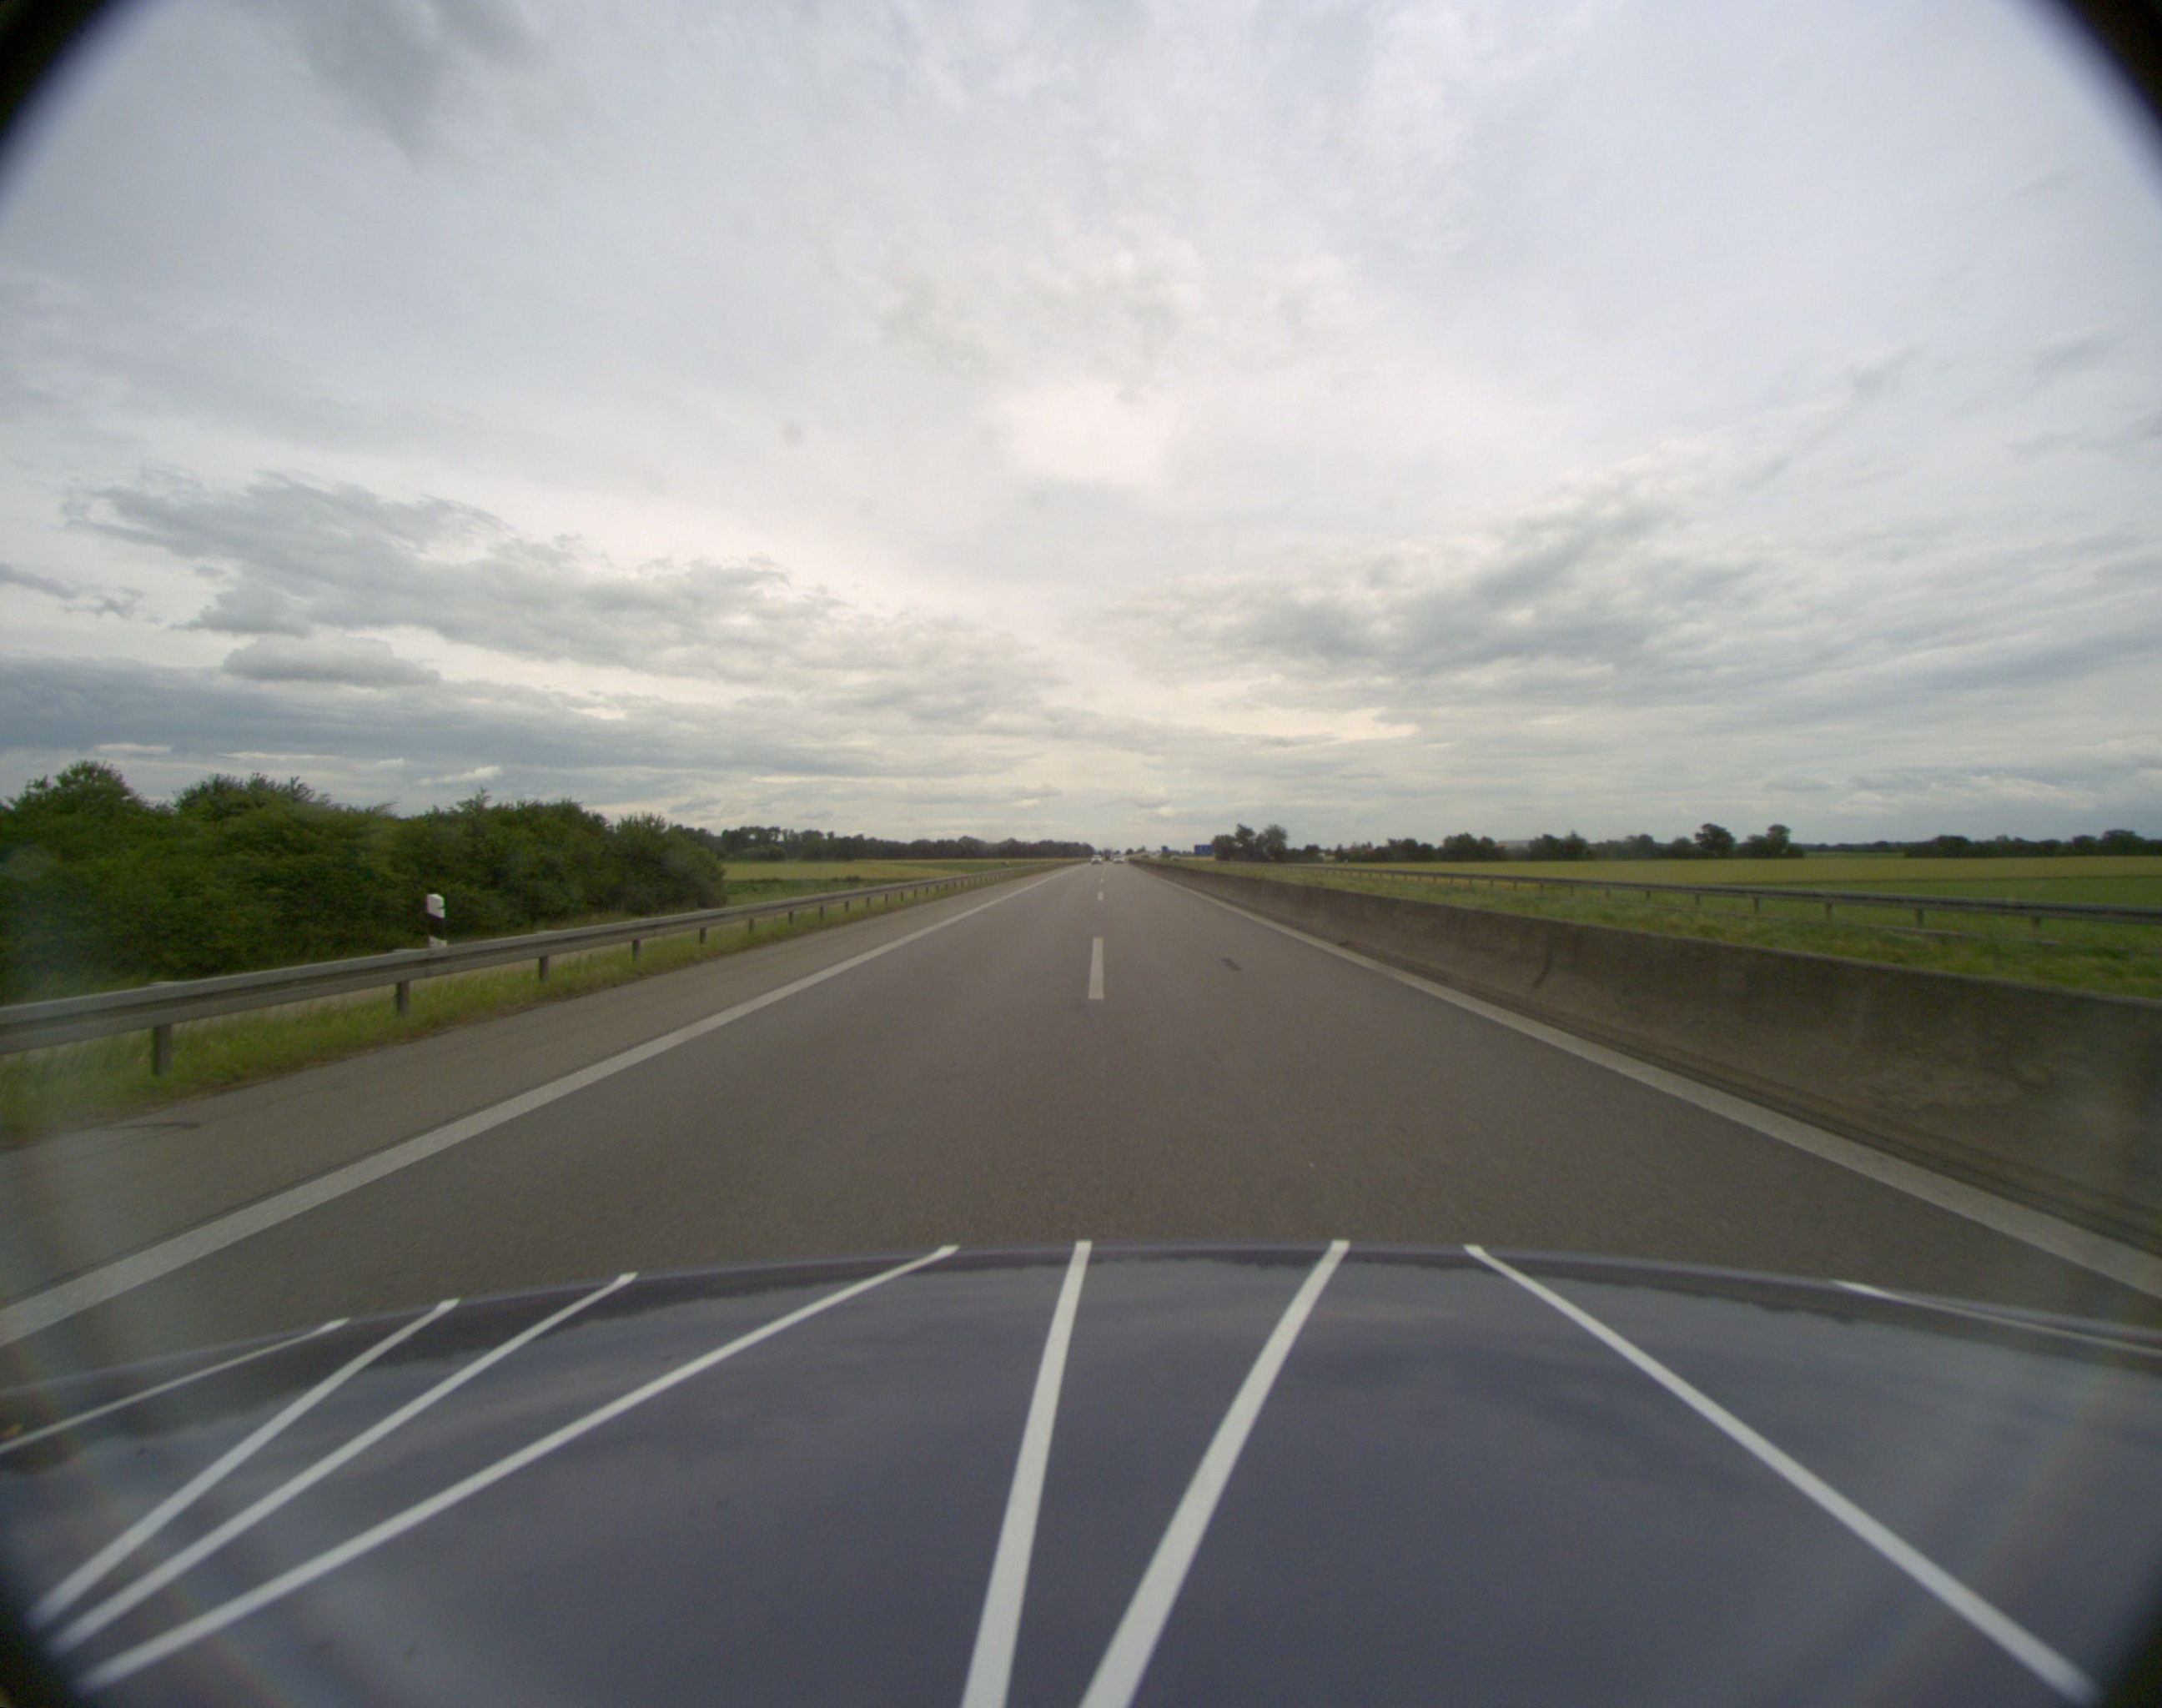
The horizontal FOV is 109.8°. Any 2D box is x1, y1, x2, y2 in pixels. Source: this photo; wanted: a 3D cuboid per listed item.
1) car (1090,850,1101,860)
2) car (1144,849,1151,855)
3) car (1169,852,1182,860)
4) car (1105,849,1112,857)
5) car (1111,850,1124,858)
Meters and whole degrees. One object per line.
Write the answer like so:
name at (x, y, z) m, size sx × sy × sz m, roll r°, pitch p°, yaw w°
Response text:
car at (2.606, 0.164, 134.540) m, size 1.916 × 1.553 × 4.288 m, roll -1°, pitch 1°, yaw 1°
car at (18.301, -0.485, 209.555) m, size 1.693 × 1.483 × 4.184 m, roll -1°, pitch 0°, yaw 1°
car at (17.460, 0.304, 140.818) m, size 1.793 × 1.463 × 4.905 m, roll 1°, pitch 0°, yaw 1°
car at (8.167, -0.217, 223.901) m, size 1.915 × 2.248 × 5.314 m, roll -1°, pitch 1°, yaw 4°
car at (6.767, -0.021, 140.623) m, size 1.917 × 1.553 × 4.286 m, roll -1°, pitch 1°, yaw -4°
